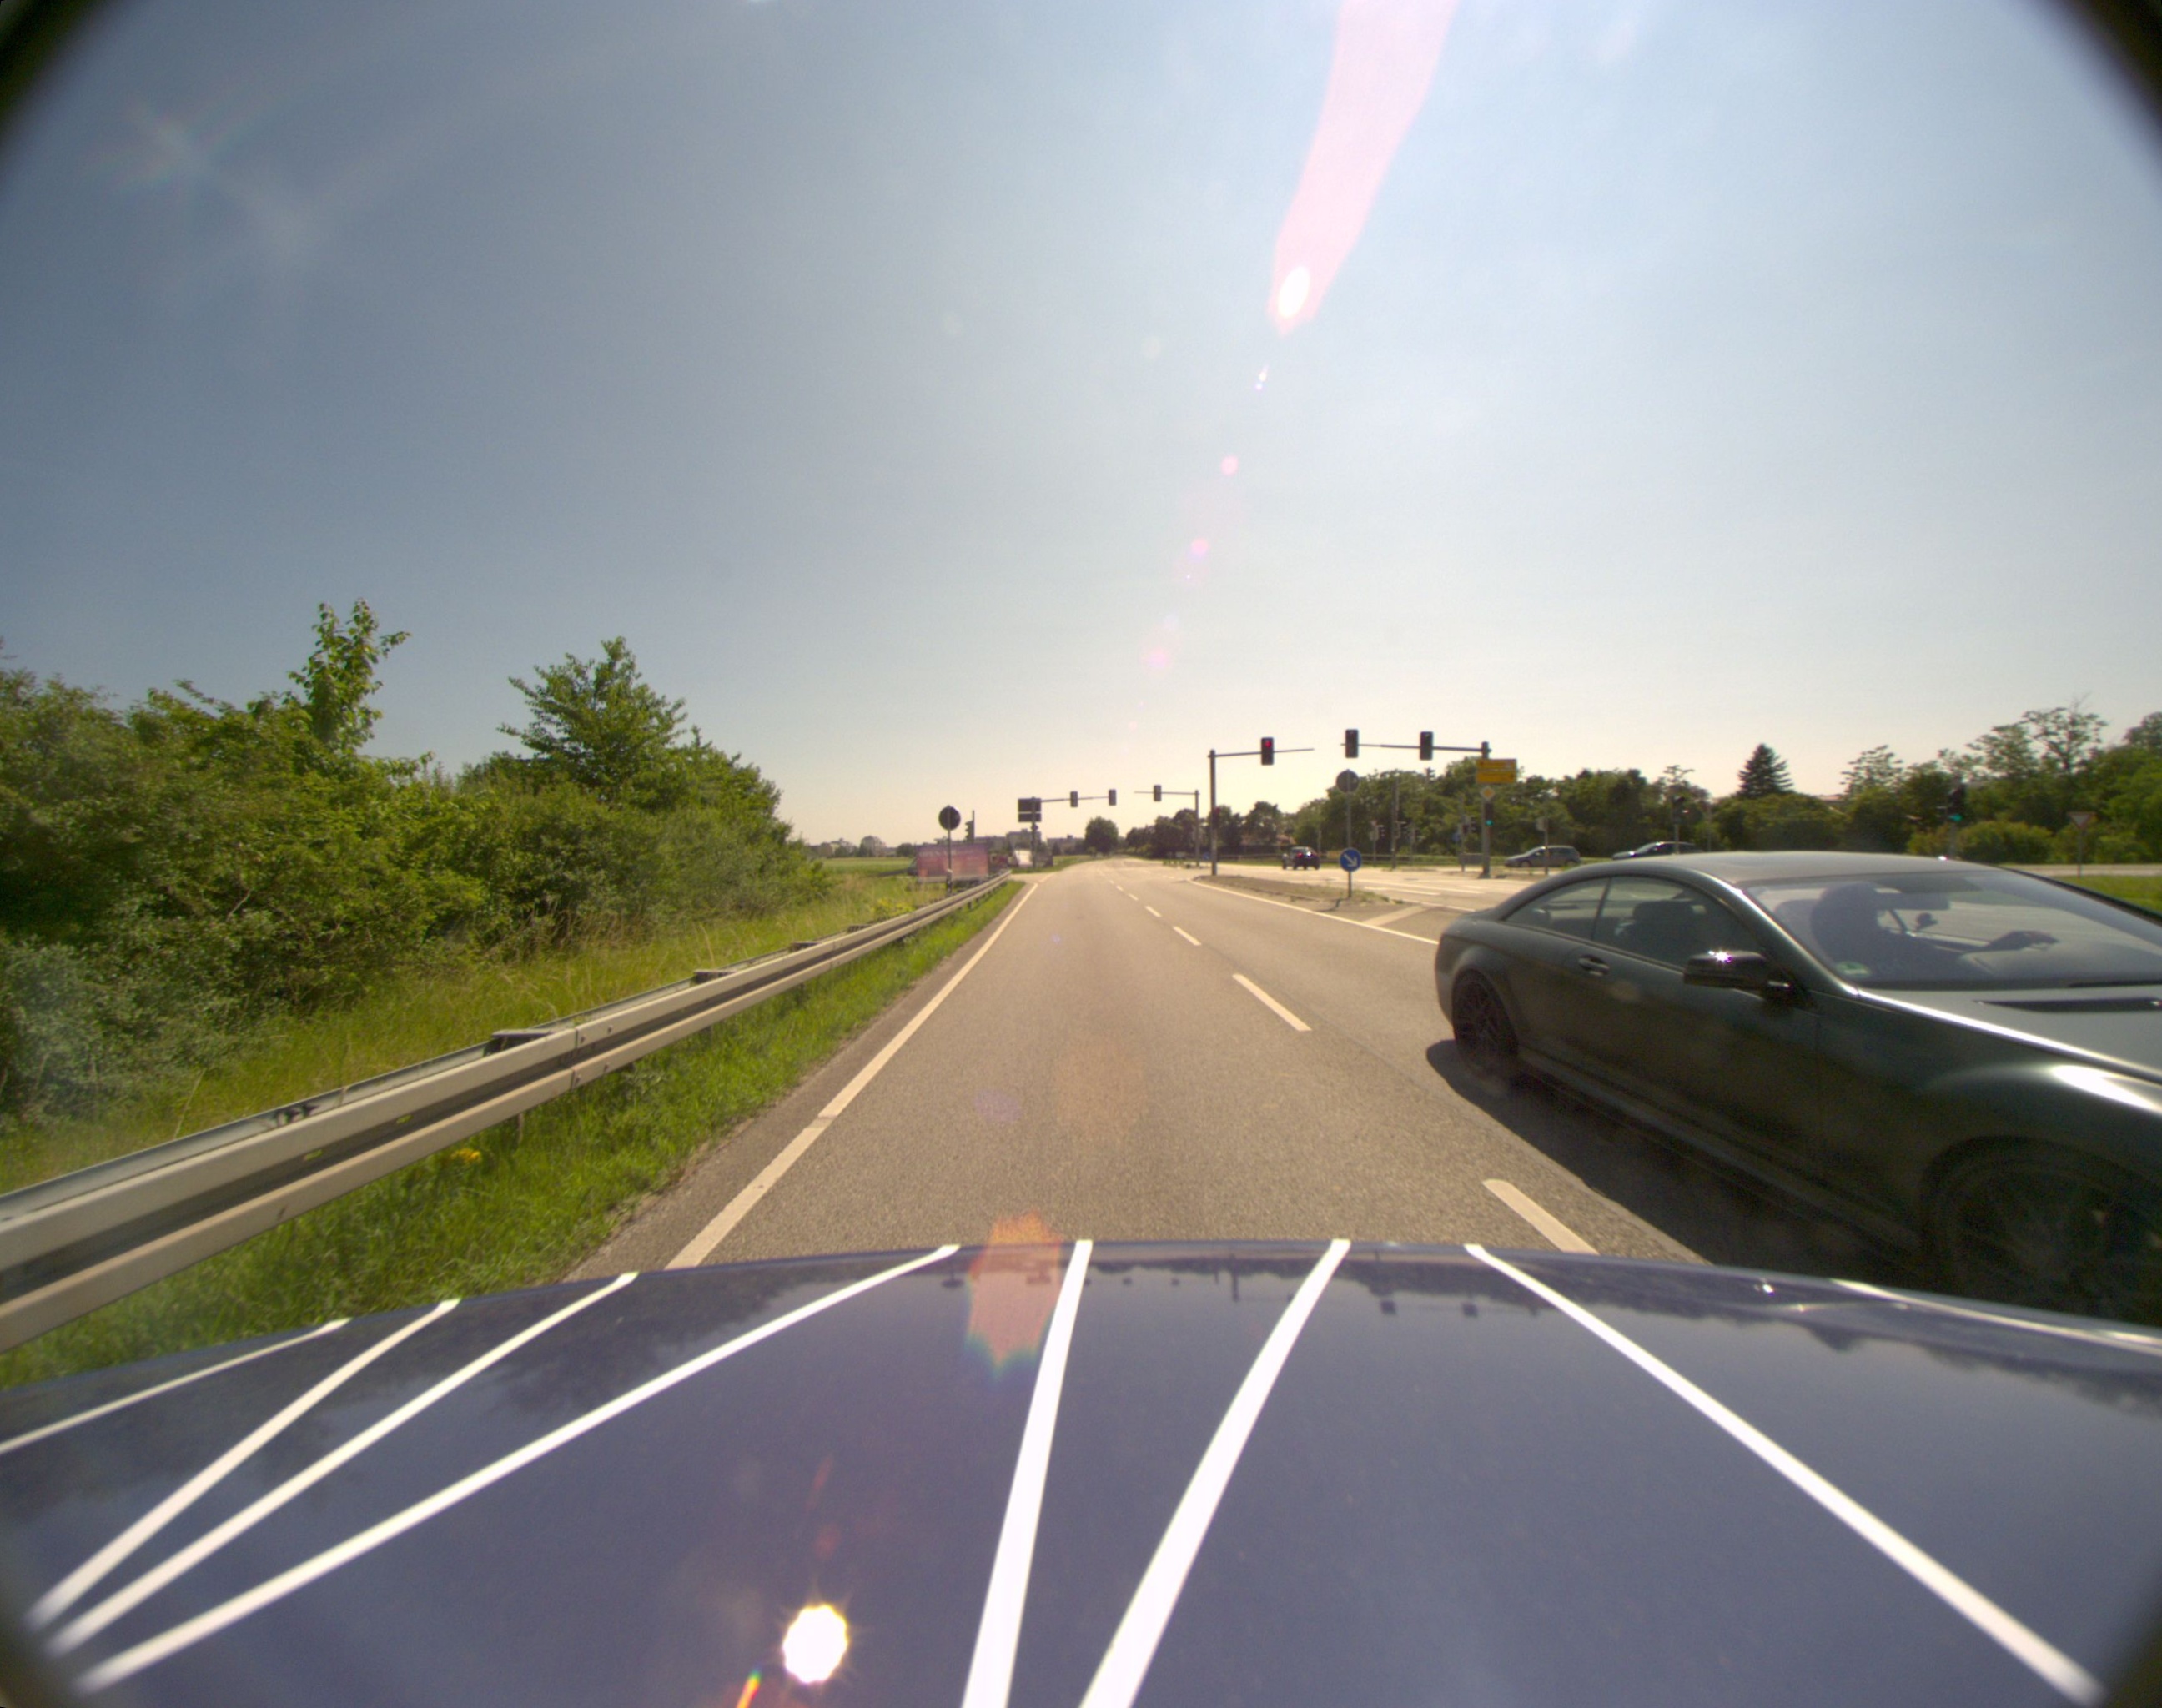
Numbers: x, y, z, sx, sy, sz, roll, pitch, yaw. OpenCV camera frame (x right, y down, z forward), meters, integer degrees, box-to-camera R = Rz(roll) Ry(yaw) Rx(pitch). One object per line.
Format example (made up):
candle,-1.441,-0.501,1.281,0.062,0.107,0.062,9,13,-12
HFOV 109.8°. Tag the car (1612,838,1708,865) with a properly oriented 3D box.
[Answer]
car,35.315,-0.164,46.467,4.360,1.585,1.637,0,1,17

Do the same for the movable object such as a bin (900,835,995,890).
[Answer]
movable object such as a bin,-6.216,0.401,35.624,4.105,2.318,1.277,-3,1,-3

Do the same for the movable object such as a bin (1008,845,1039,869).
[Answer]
movable object such as a bin,-6.022,0.268,80.022,1.523,2.349,4.429,-2,1,20

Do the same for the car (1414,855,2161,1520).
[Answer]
car,3.397,0.780,3.210,1.815,1.441,4.876,-3,0,0

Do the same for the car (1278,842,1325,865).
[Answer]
car,15.551,-0.057,53.807,1.835,1.591,4.303,-1,1,-3

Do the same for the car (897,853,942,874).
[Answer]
car,-12.900,0.754,60.896,3.346,1.491,1.400,-2,1,-5

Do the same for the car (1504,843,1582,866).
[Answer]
car,29.148,0.032,48.053,3.873,1.379,1.637,-2,0,15
